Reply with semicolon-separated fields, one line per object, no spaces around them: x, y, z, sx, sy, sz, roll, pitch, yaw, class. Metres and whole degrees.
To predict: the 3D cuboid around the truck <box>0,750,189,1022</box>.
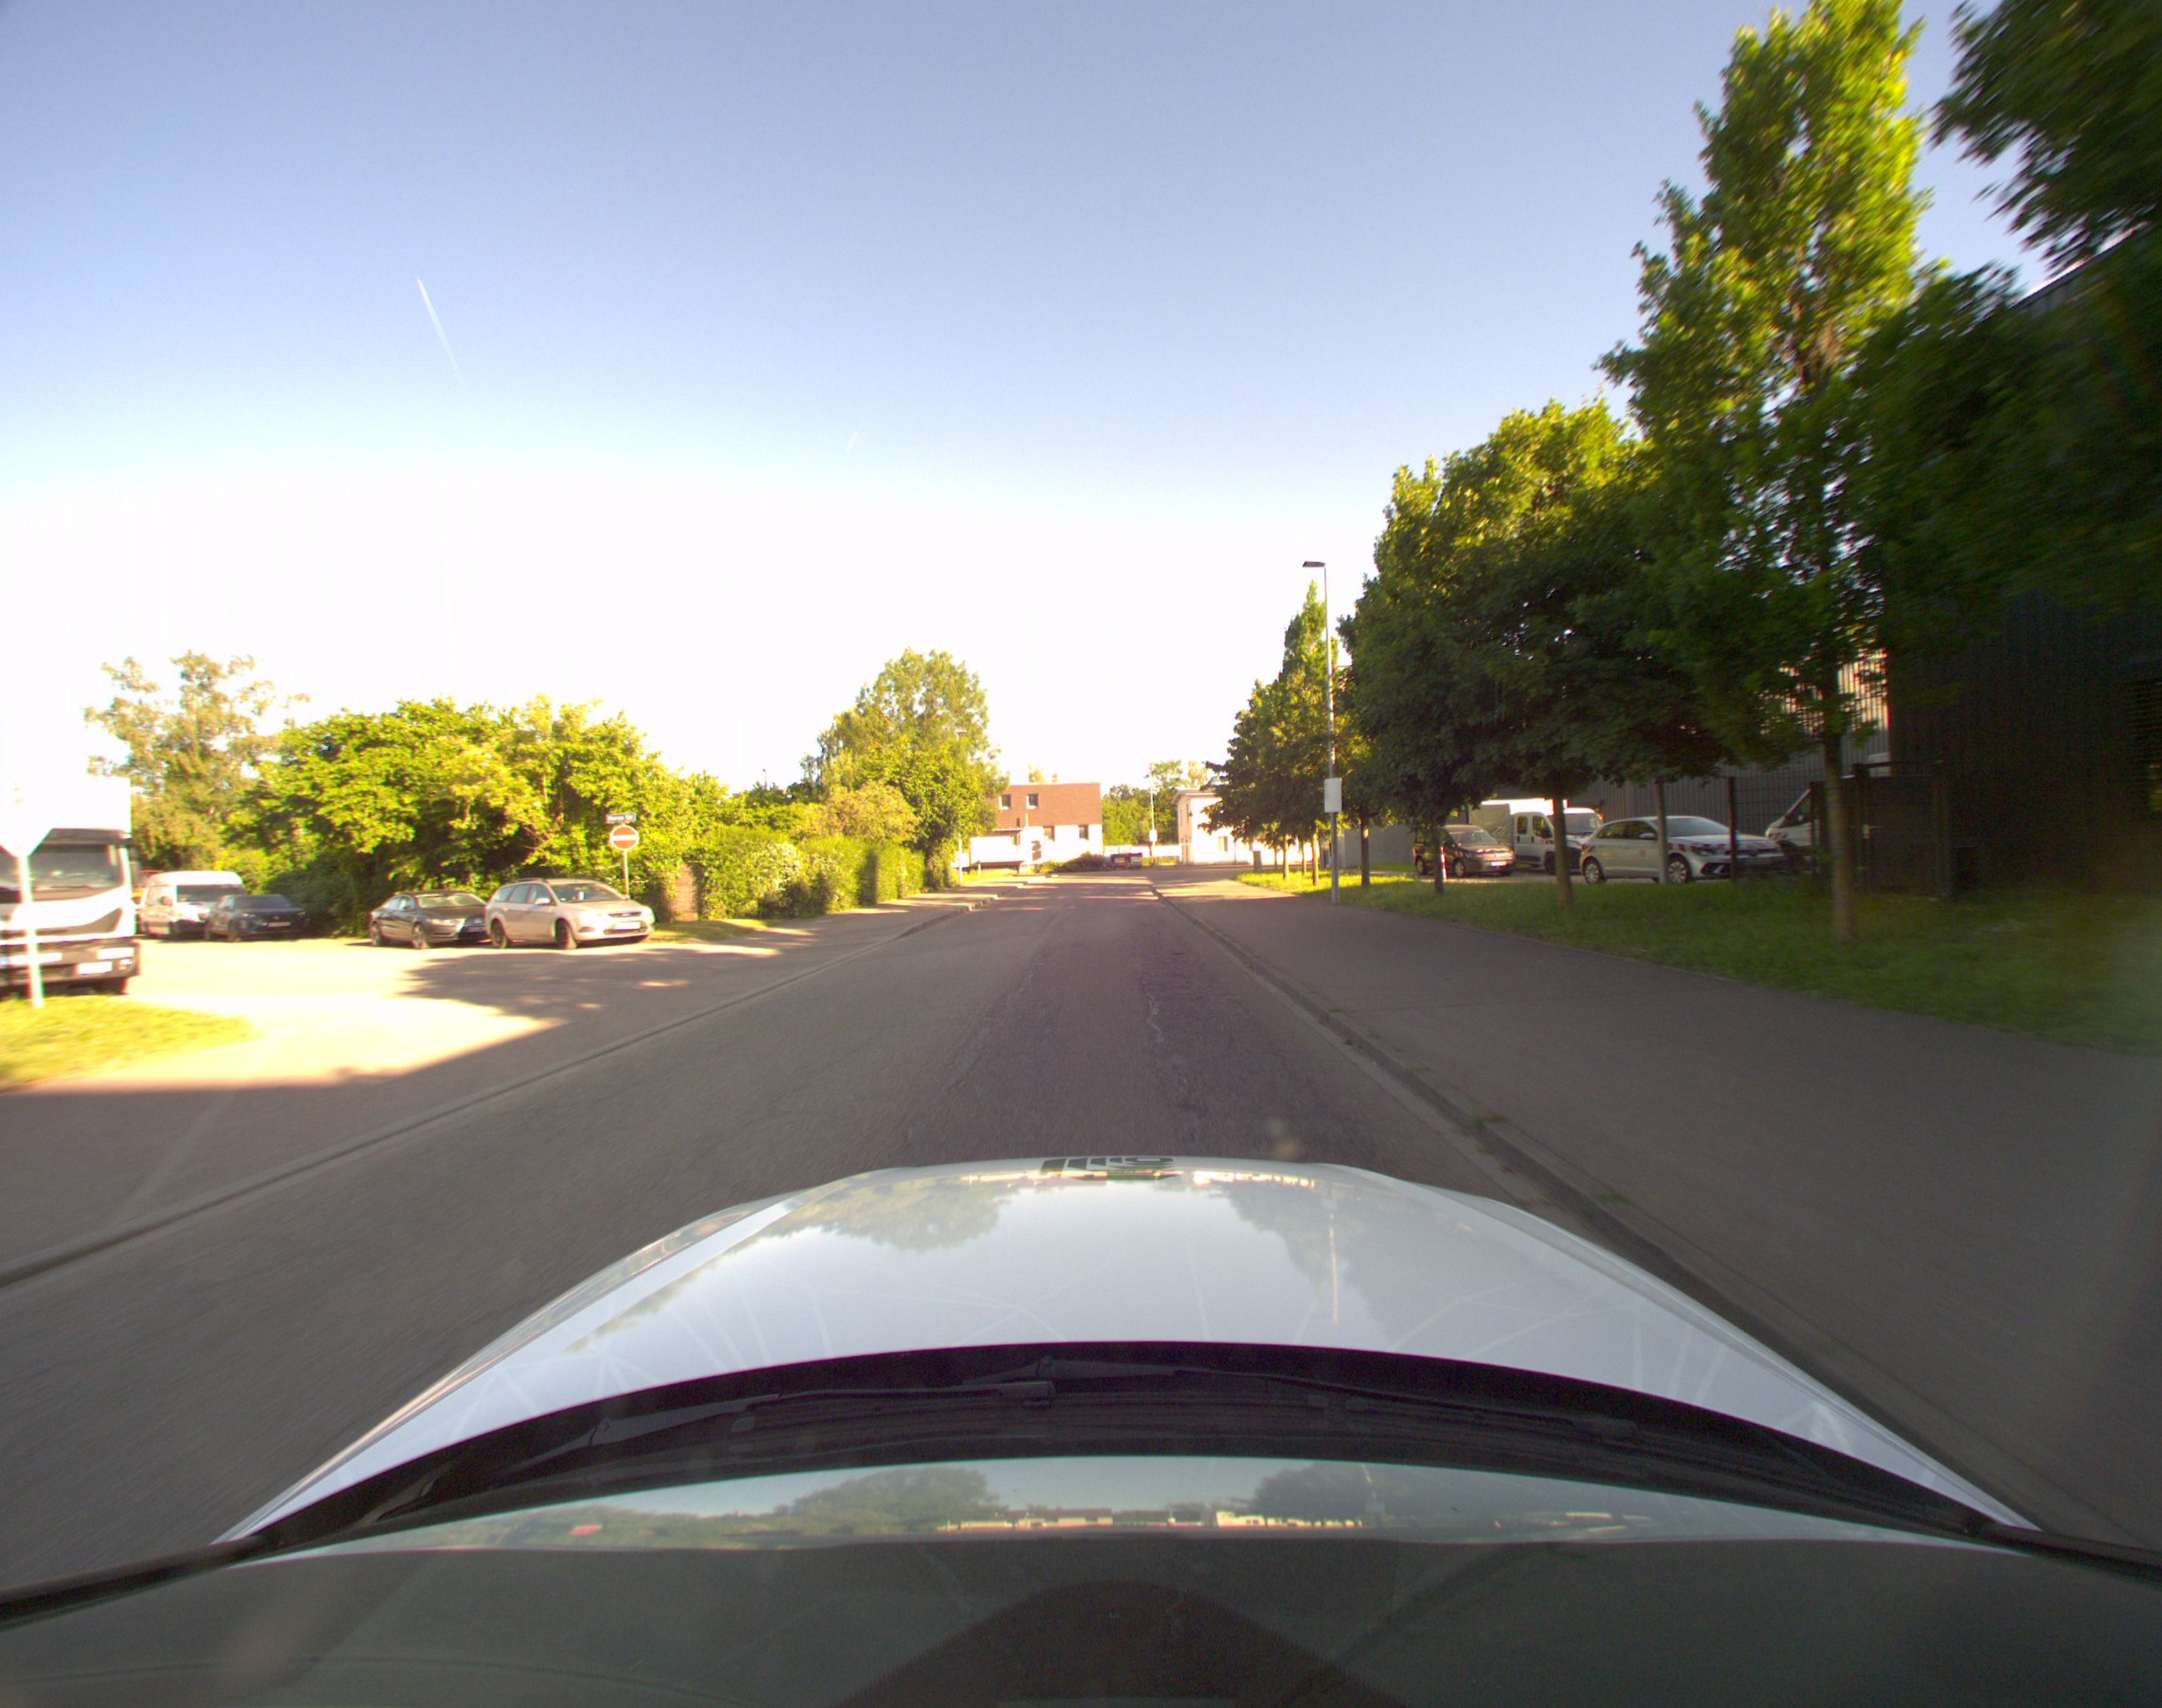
-19.145;0.618;14.381;9.214;3.883;2.728;-2;-2;31;truck

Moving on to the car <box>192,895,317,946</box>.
-27.396;2.151;26.991;3.799;1.433;1.888;-1;-1;28;car

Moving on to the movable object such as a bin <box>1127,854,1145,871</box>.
4.651;0.717;69.343;1.363;1.418;1.063;0;-1;-5;movable object such as a bin

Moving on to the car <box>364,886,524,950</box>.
-16.259;1.645;20.742;4.152;1.436;1.653;-4;-2;28;car

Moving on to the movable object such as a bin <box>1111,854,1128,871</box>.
3.257;0.723;69.212;1.363;1.418;1.063;0;-1;-5;movable object such as a bin

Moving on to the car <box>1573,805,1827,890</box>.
12.085;-0.088;16.329;1.829;1.466;4.277;0;-1;-1;car

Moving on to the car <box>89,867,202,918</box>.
-39.230;1.571;34.153;4.211;2.014;2.011;-1;-1;25;car

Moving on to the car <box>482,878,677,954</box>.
-11.311;1.314;18.334;4.170;1.490;1.888;-1;-1;28;car

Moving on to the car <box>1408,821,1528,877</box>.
13.480;-0.134;28.706;1.831;1.814;4.661;0;-1;-3;car

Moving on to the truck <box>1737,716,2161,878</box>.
17.110;-0.903;16.711;2.273;2.677;6.403;0;-1;2;truck

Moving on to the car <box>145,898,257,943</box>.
-32.560;2.399;30.128;3.799;1.433;1.888;-1;-1;28;car

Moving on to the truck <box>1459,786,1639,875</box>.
16.487;-0.757;29.311;2.353;2.838;6.743;0;0;-3;truck
